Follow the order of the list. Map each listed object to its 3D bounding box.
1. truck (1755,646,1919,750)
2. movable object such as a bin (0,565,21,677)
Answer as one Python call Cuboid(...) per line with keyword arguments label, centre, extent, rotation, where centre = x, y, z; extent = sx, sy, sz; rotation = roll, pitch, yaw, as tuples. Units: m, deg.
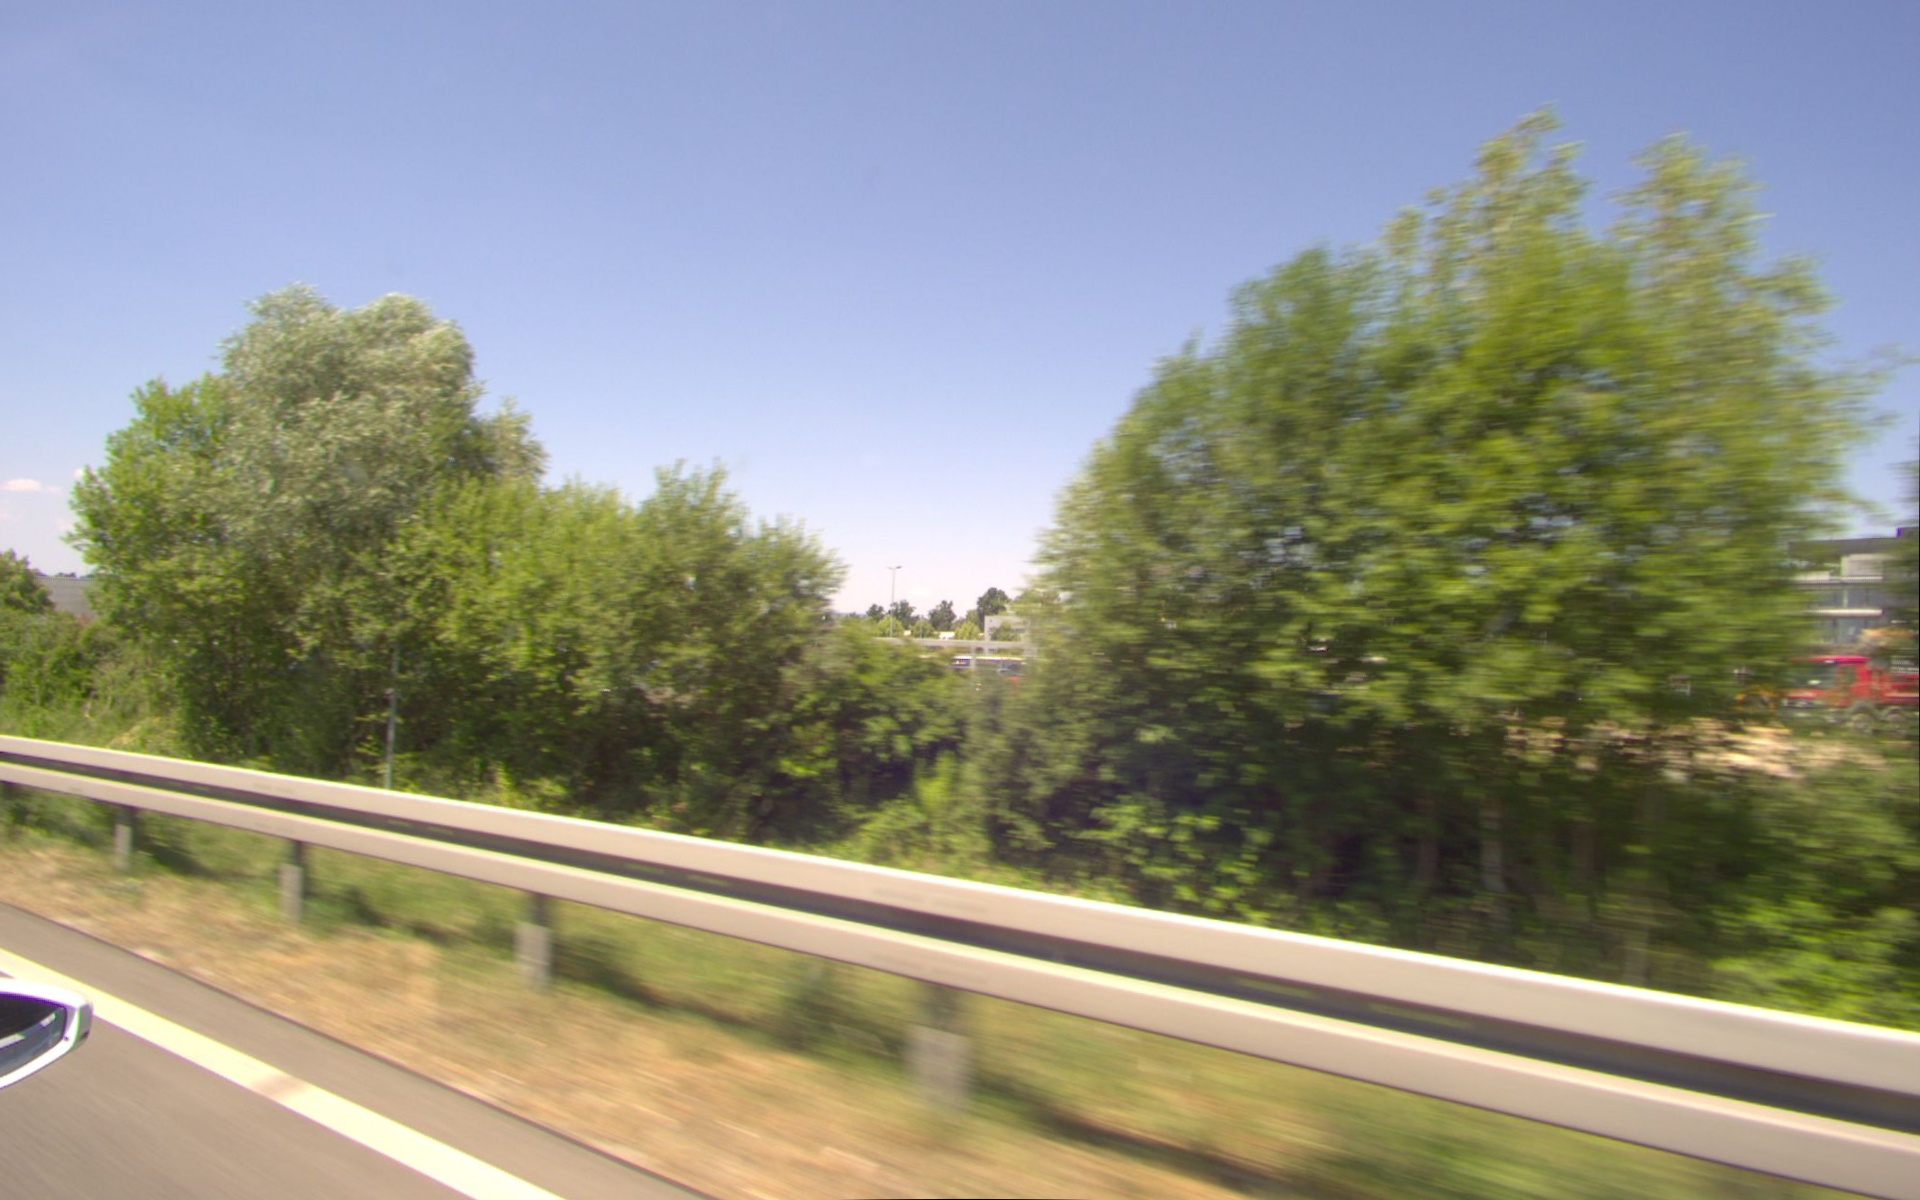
Cuboid(label="truck", centre=(37.329, 3.993, 40.248), extent=(9.247, 3.730, 3.129), rotation=(4, -2, -12))
Cuboid(label="movable object such as a bin", centre=(-50.192, 0.770, 48.234), extent=(9.067, 5.327, 3.430), rotation=(2, -2, 22))
